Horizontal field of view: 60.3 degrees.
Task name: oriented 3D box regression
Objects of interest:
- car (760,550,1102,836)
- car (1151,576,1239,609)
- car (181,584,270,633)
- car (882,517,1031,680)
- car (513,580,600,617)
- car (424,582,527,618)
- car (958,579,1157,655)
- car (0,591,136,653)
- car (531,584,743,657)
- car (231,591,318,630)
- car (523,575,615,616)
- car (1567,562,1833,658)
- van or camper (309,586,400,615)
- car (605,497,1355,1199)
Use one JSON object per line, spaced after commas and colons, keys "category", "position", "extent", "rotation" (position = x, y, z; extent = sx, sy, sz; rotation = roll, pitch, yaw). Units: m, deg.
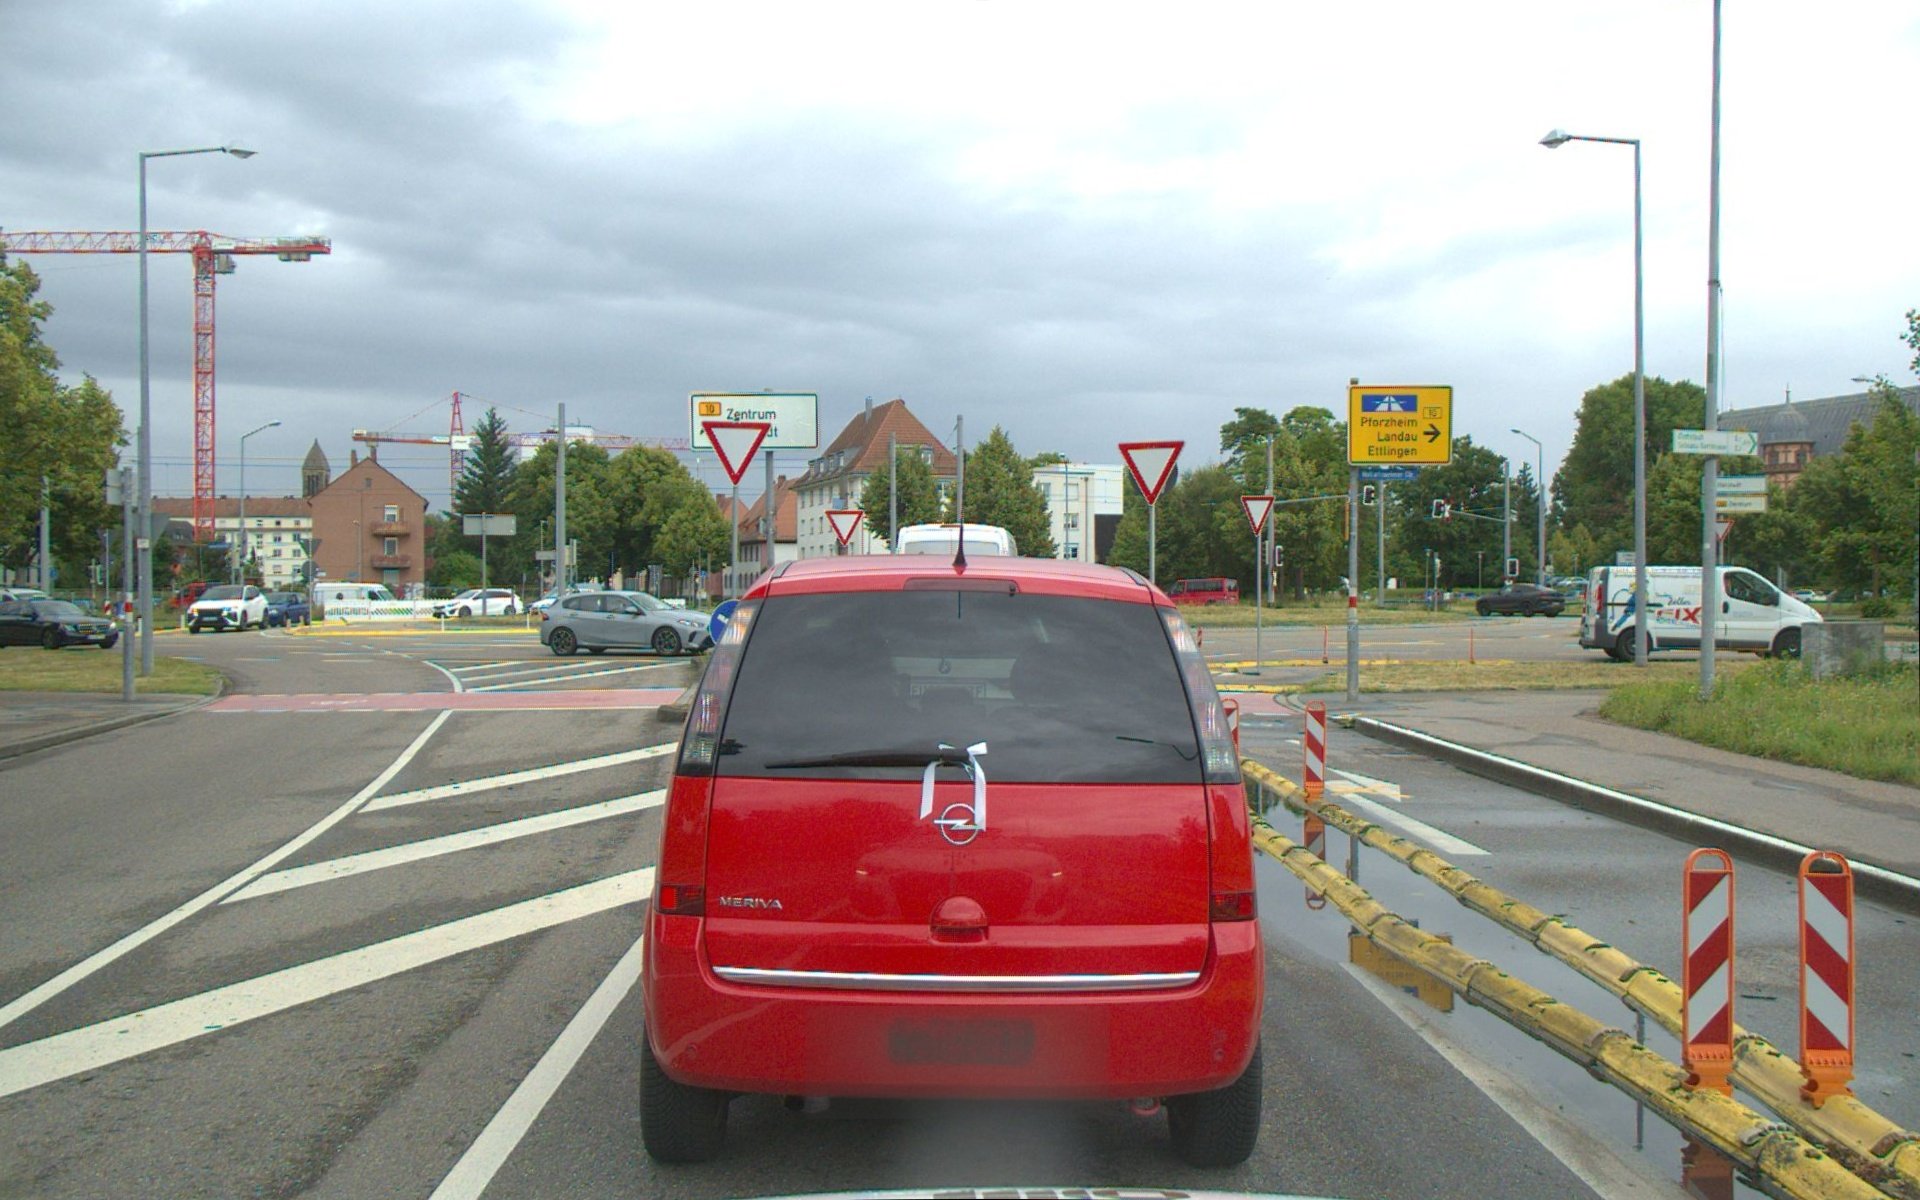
{"category": "car", "position": [-0.205, 0.538, 12.170], "extent": [2.018, 1.676, 4.606], "rotation": [1, 0, -1]}
{"category": "car", "position": [14.088, -0.444, 99.152], "extent": [4.788, 1.951, 2.109], "rotation": [0, 0, 34]}
{"category": "car", "position": [-26.860, 0.283, 60.600], "extent": [1.895, 1.713, 4.181], "rotation": [-1, 0, -9]}
{"category": "car", "position": [0.044, -0.040, 28.957], "extent": [2.149, 2.584, 4.965], "rotation": [1, 0, 5]}
{"category": "car", "position": [-22.872, -0.097, 93.729], "extent": [4.419, 2.049, 1.979], "rotation": [-1, 0, -31]}
{"category": "car", "position": [-23.455, -0.007, 80.249], "extent": [1.959, 1.663, 4.660], "rotation": [0, 0, 34]}
{"category": "car", "position": [2.244, 0.368, 37.392], "extent": [4.331, 1.630, 2.101], "rotation": [0, 0, 8]}
{"category": "car", "position": [-26.045, 0.619, 47.860], "extent": [3.909, 1.713, 1.998], "rotation": [0, 0, 27]}
{"category": "car", "position": [-7.467, 0.456, 38.321], "extent": [4.332, 1.630, 2.100], "rotation": [0, 0, 17]}
{"category": "car", "position": [-27.792, 0.408, 67.158], "extent": [1.891, 1.515, 4.000], "rotation": [-1, 0, -1]}
{"category": "car", "position": [-20.050, -0.237, 85.007], "extent": [1.959, 2.049, 4.466], "rotation": [0, 0, 34]}
{"category": "car", "position": [15.383, 0.210, 34.666], "extent": [4.729, 1.933, 2.101], "rotation": [0, 0, 12]}
{"category": "van or camper", "position": [-44.267, 0.054, 120.941], "extent": [6.045, 2.049, 2.002], "rotation": [0, 0, 10]}
{"category": "car", "position": [0.021, 0.606, 5.473], "extent": [1.639, 1.669, 3.626], "rotation": [1, 0, -1]}
